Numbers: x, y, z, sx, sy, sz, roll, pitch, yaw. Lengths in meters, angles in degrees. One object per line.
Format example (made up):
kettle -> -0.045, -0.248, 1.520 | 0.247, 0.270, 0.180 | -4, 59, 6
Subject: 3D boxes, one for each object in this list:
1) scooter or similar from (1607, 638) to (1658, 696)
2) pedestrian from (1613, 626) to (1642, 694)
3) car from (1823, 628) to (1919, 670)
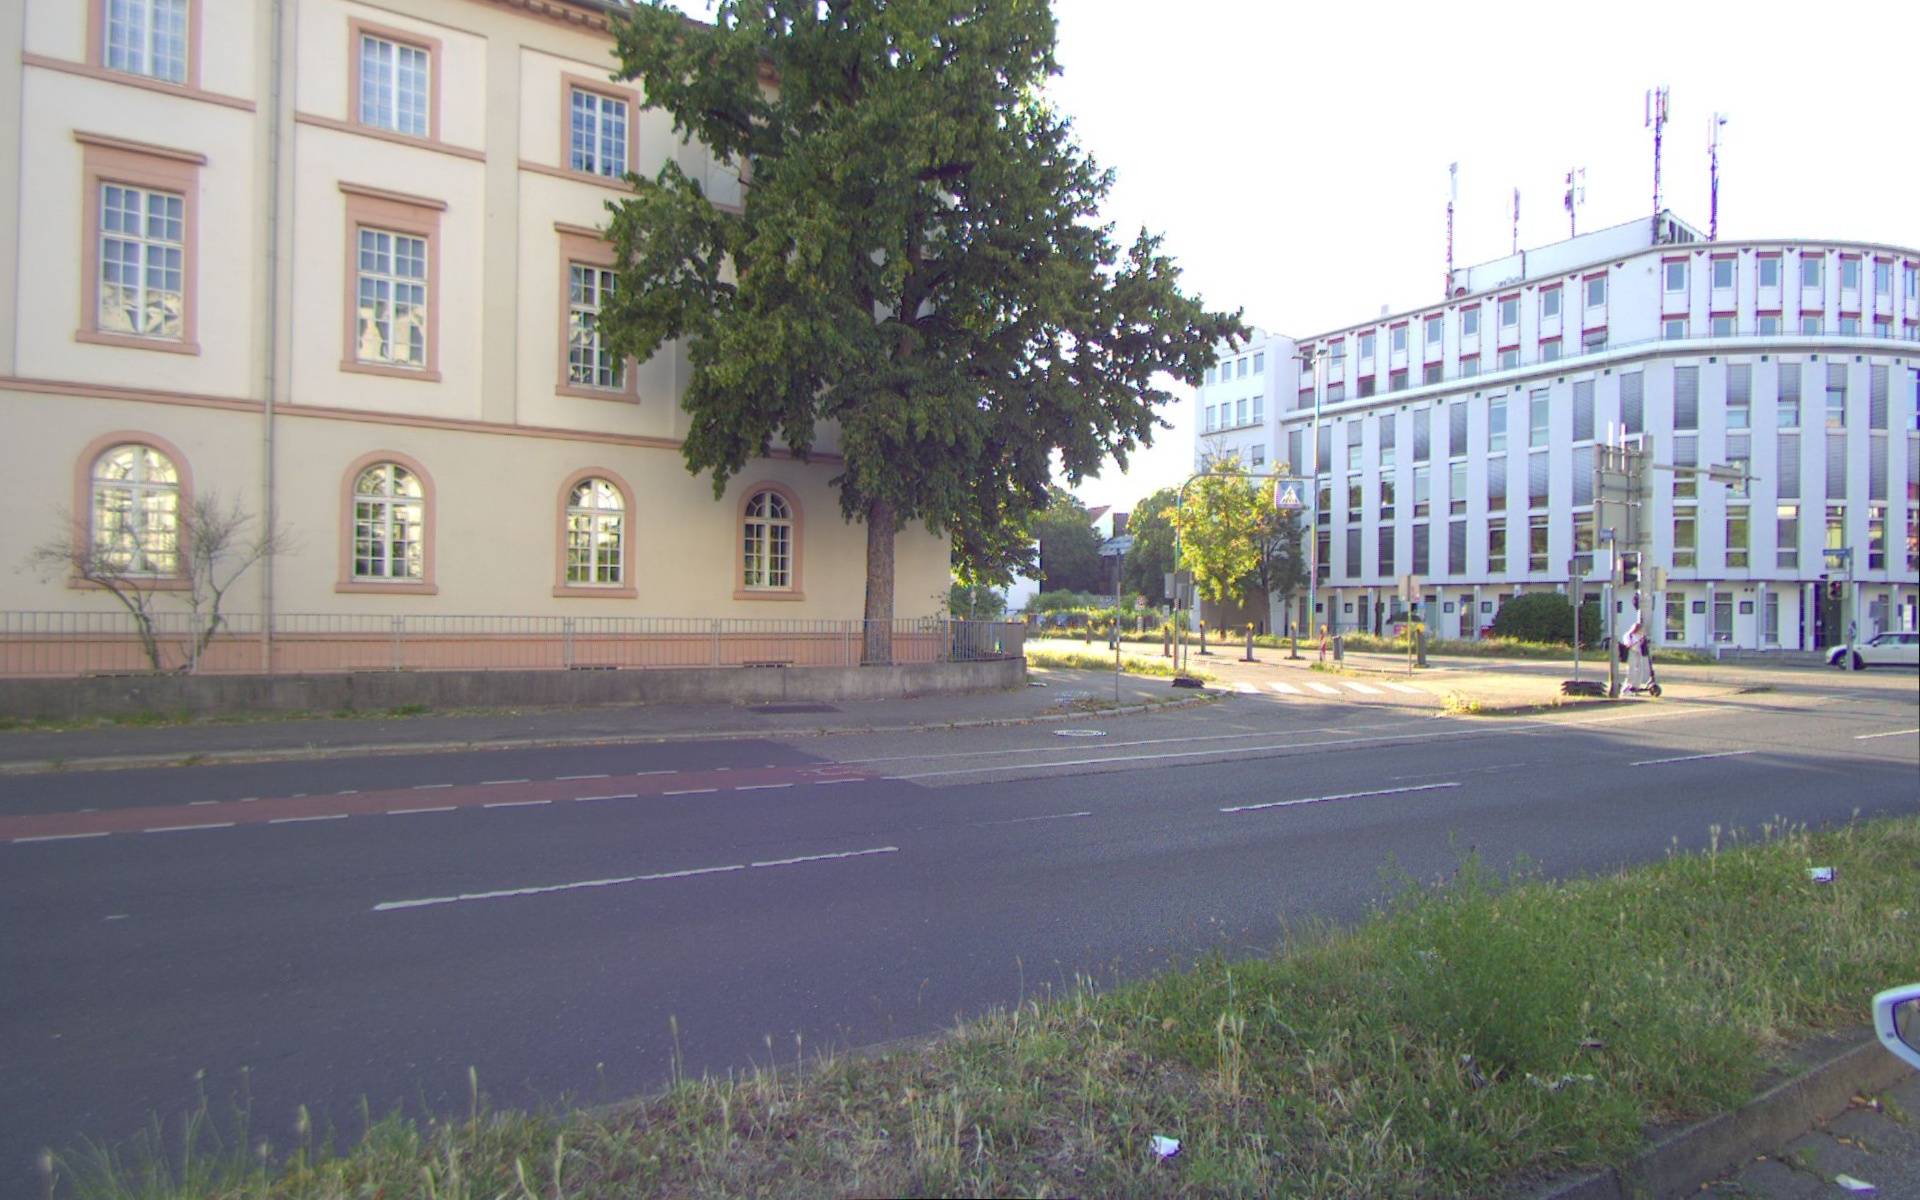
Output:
scooter or similar -> 15.006, 1.481, 22.427 | 0.368, 1.250, 0.885 | 1, -1, -40
pedestrian -> 15.077, 1.346, 22.696 | 0.332, 1.525, 0.470 | 1, -1, -41
car -> 34.216, 1.780, 36.570 | 1.770, 1.439, 3.961 | 1, -1, -35
